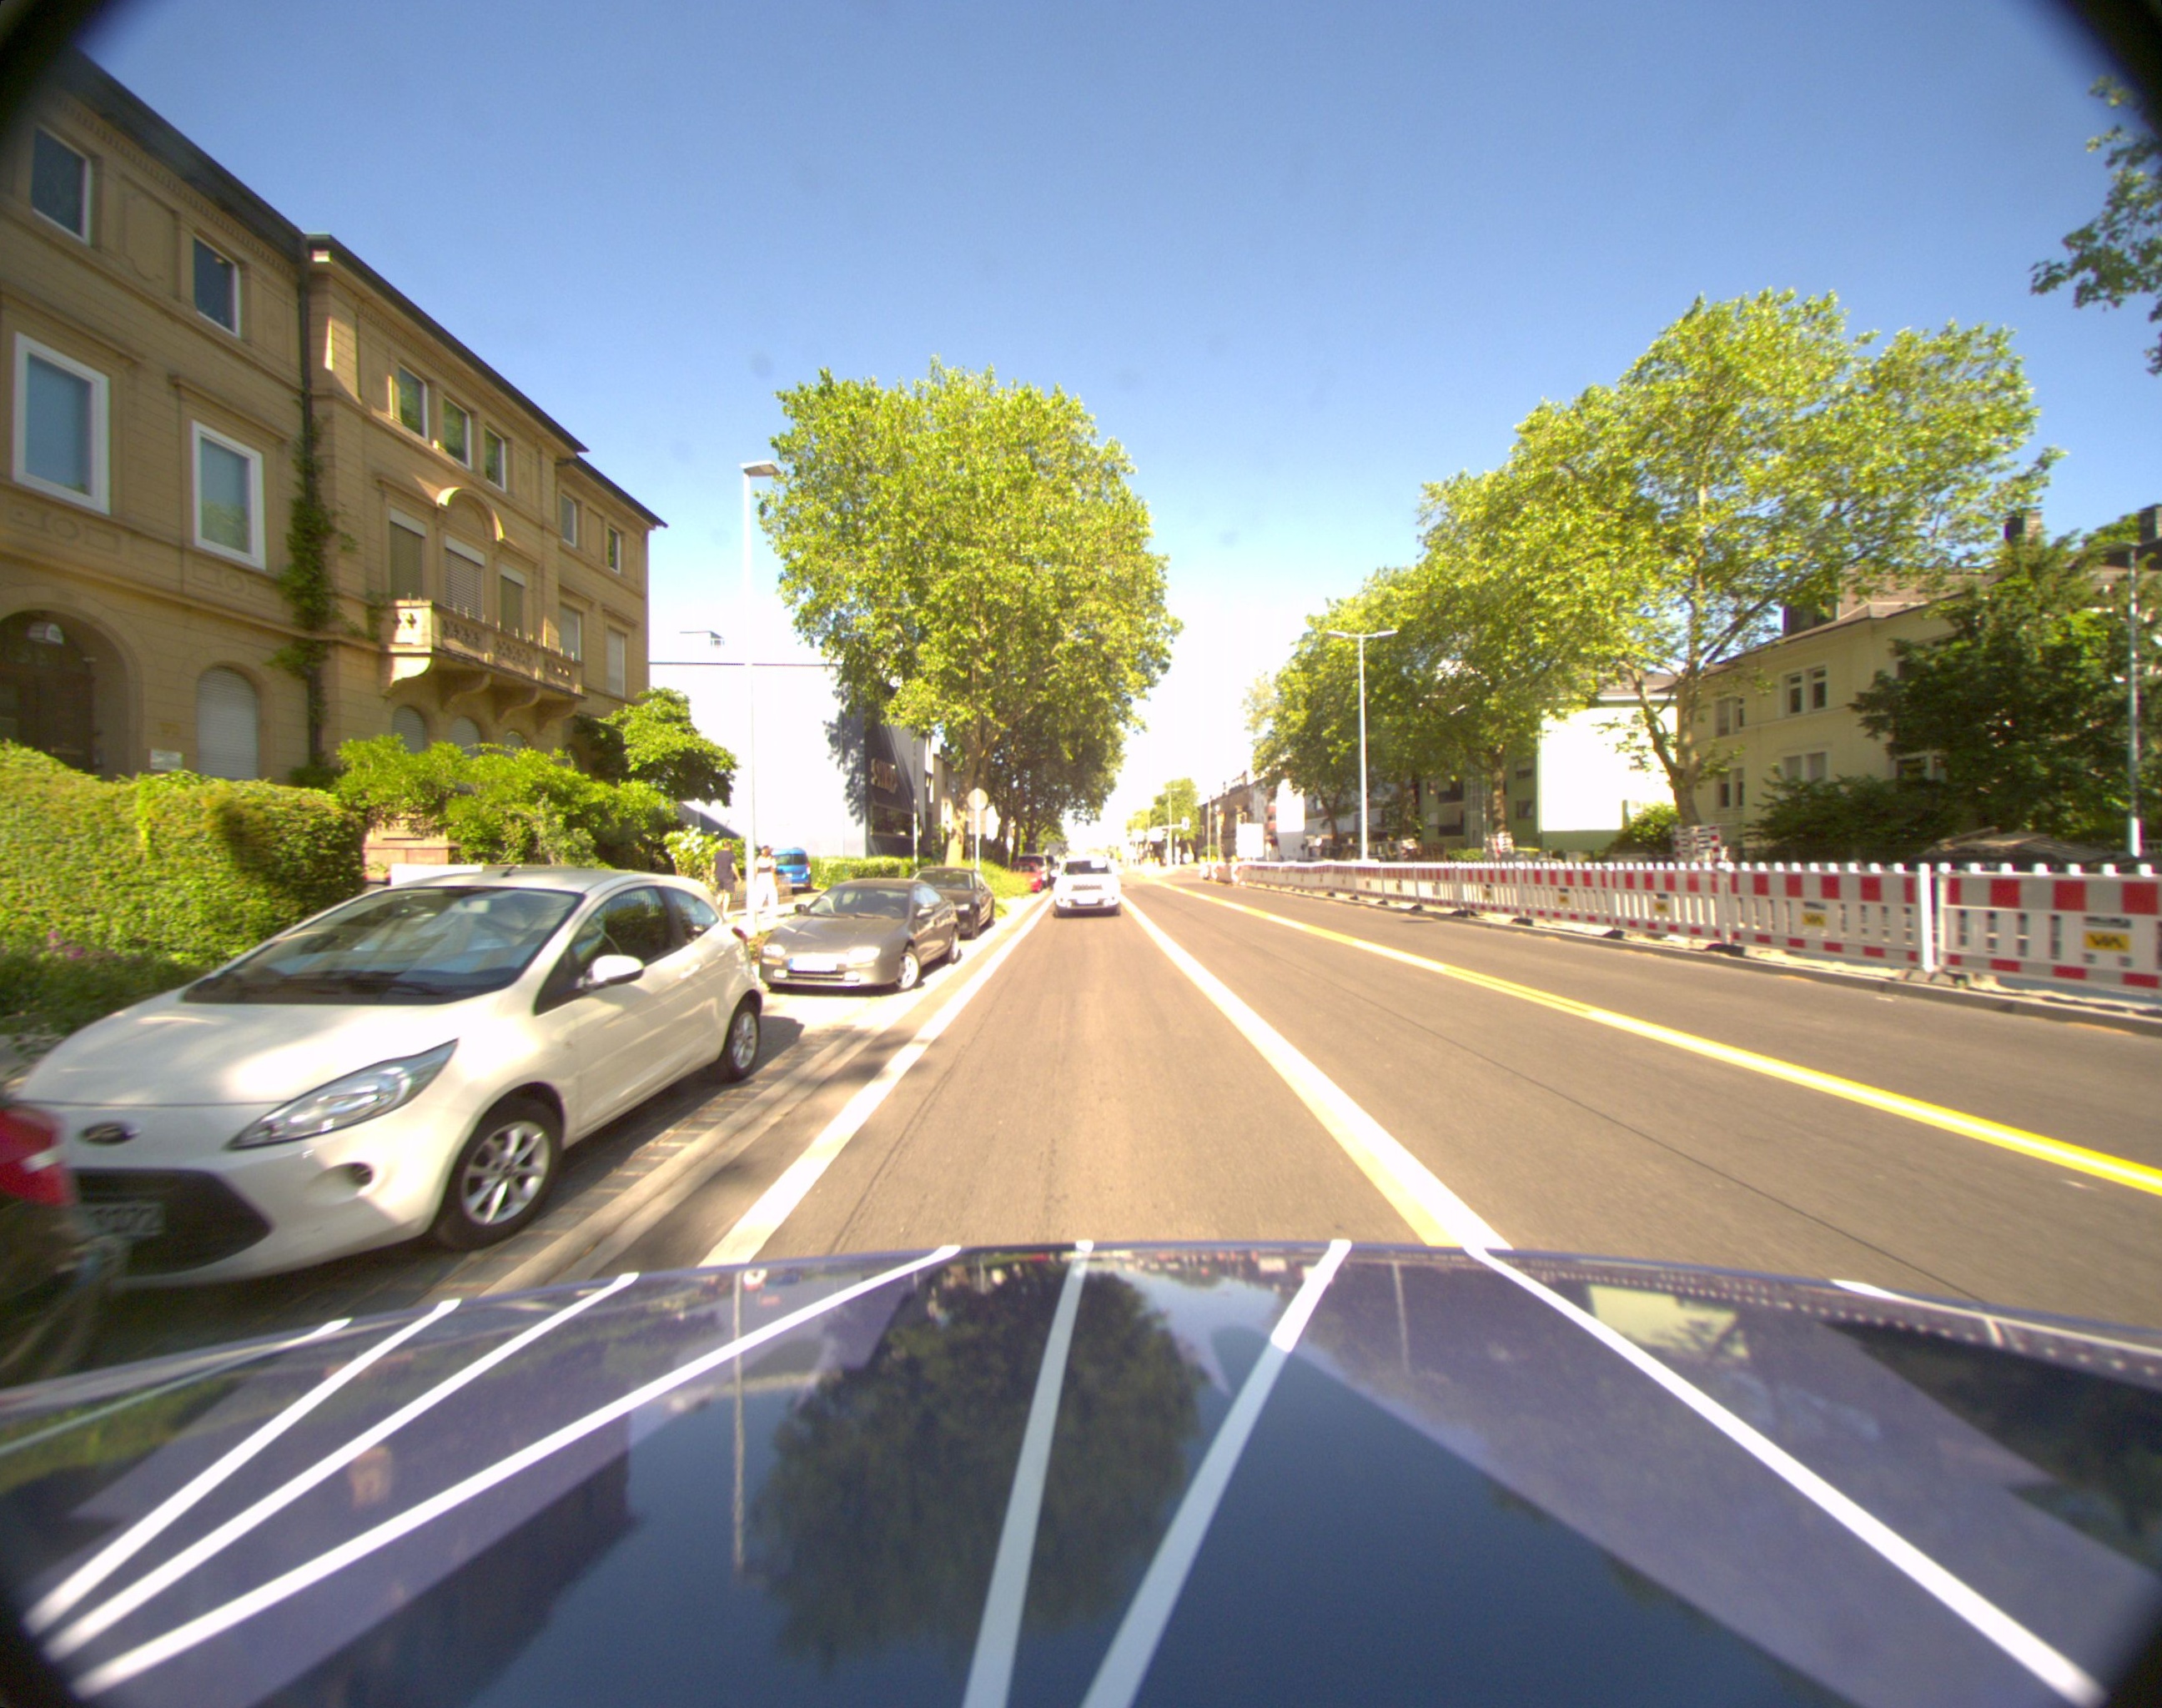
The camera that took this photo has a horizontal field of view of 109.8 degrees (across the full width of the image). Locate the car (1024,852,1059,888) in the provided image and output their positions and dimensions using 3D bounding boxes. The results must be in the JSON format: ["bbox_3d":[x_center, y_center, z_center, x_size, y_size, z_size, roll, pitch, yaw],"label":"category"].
[{"bbox_3d":[-2.208,0.882,43.554,1.753,1.954,4.507,0,0,1],"label":"car"}]

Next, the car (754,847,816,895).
[{"bbox_3d":[-12.059,0.637,30.810,1.803,1.811,3.990,0,0,-29],"label":"car"}]

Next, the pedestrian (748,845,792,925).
[{"bbox_3d":[-7.085,0.683,17.336,0.698,1.786,0.715,0,1,0],"label":"pedestrian"}]

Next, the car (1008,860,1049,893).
[{"bbox_3d":[-2.521,1.048,37.227,1.674,1.508,3.997,0,0,1],"label":"car"}]

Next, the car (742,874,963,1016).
[{"bbox_3d":[-2.793,1.040,10.260,1.720,1.404,4.048,1,0,1],"label":"car"}]

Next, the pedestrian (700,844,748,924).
[{"bbox_3d":[-8.128,0.662,17.340,0.698,1.786,0.802,0,1,0],"label":"pedestrian"}]

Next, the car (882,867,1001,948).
[{"bbox_3d":[-2.904,1.061,16.803,1.720,1.404,4.476,2,0,1],"label":"car"}]

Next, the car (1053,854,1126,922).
[{"bbox_3d":[0.245,0.895,22.280,1.868,1.716,4.507,-2,0,1],"label":"car"}]

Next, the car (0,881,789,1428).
[{"bbox_3d":[-3.150,0.968,4.138,1.624,1.477,3.734,1,0,1],"label":"car"}]

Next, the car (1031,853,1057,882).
[{"bbox_3d":[-2.602,0.920,54.232,1.631,1.997,4.220,0,0,1],"label":"car"}]

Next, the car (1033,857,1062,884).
[{"bbox_3d":[-2.148,1.029,49.052,1.631,1.625,4.220,0,0,1],"label":"car"}]
